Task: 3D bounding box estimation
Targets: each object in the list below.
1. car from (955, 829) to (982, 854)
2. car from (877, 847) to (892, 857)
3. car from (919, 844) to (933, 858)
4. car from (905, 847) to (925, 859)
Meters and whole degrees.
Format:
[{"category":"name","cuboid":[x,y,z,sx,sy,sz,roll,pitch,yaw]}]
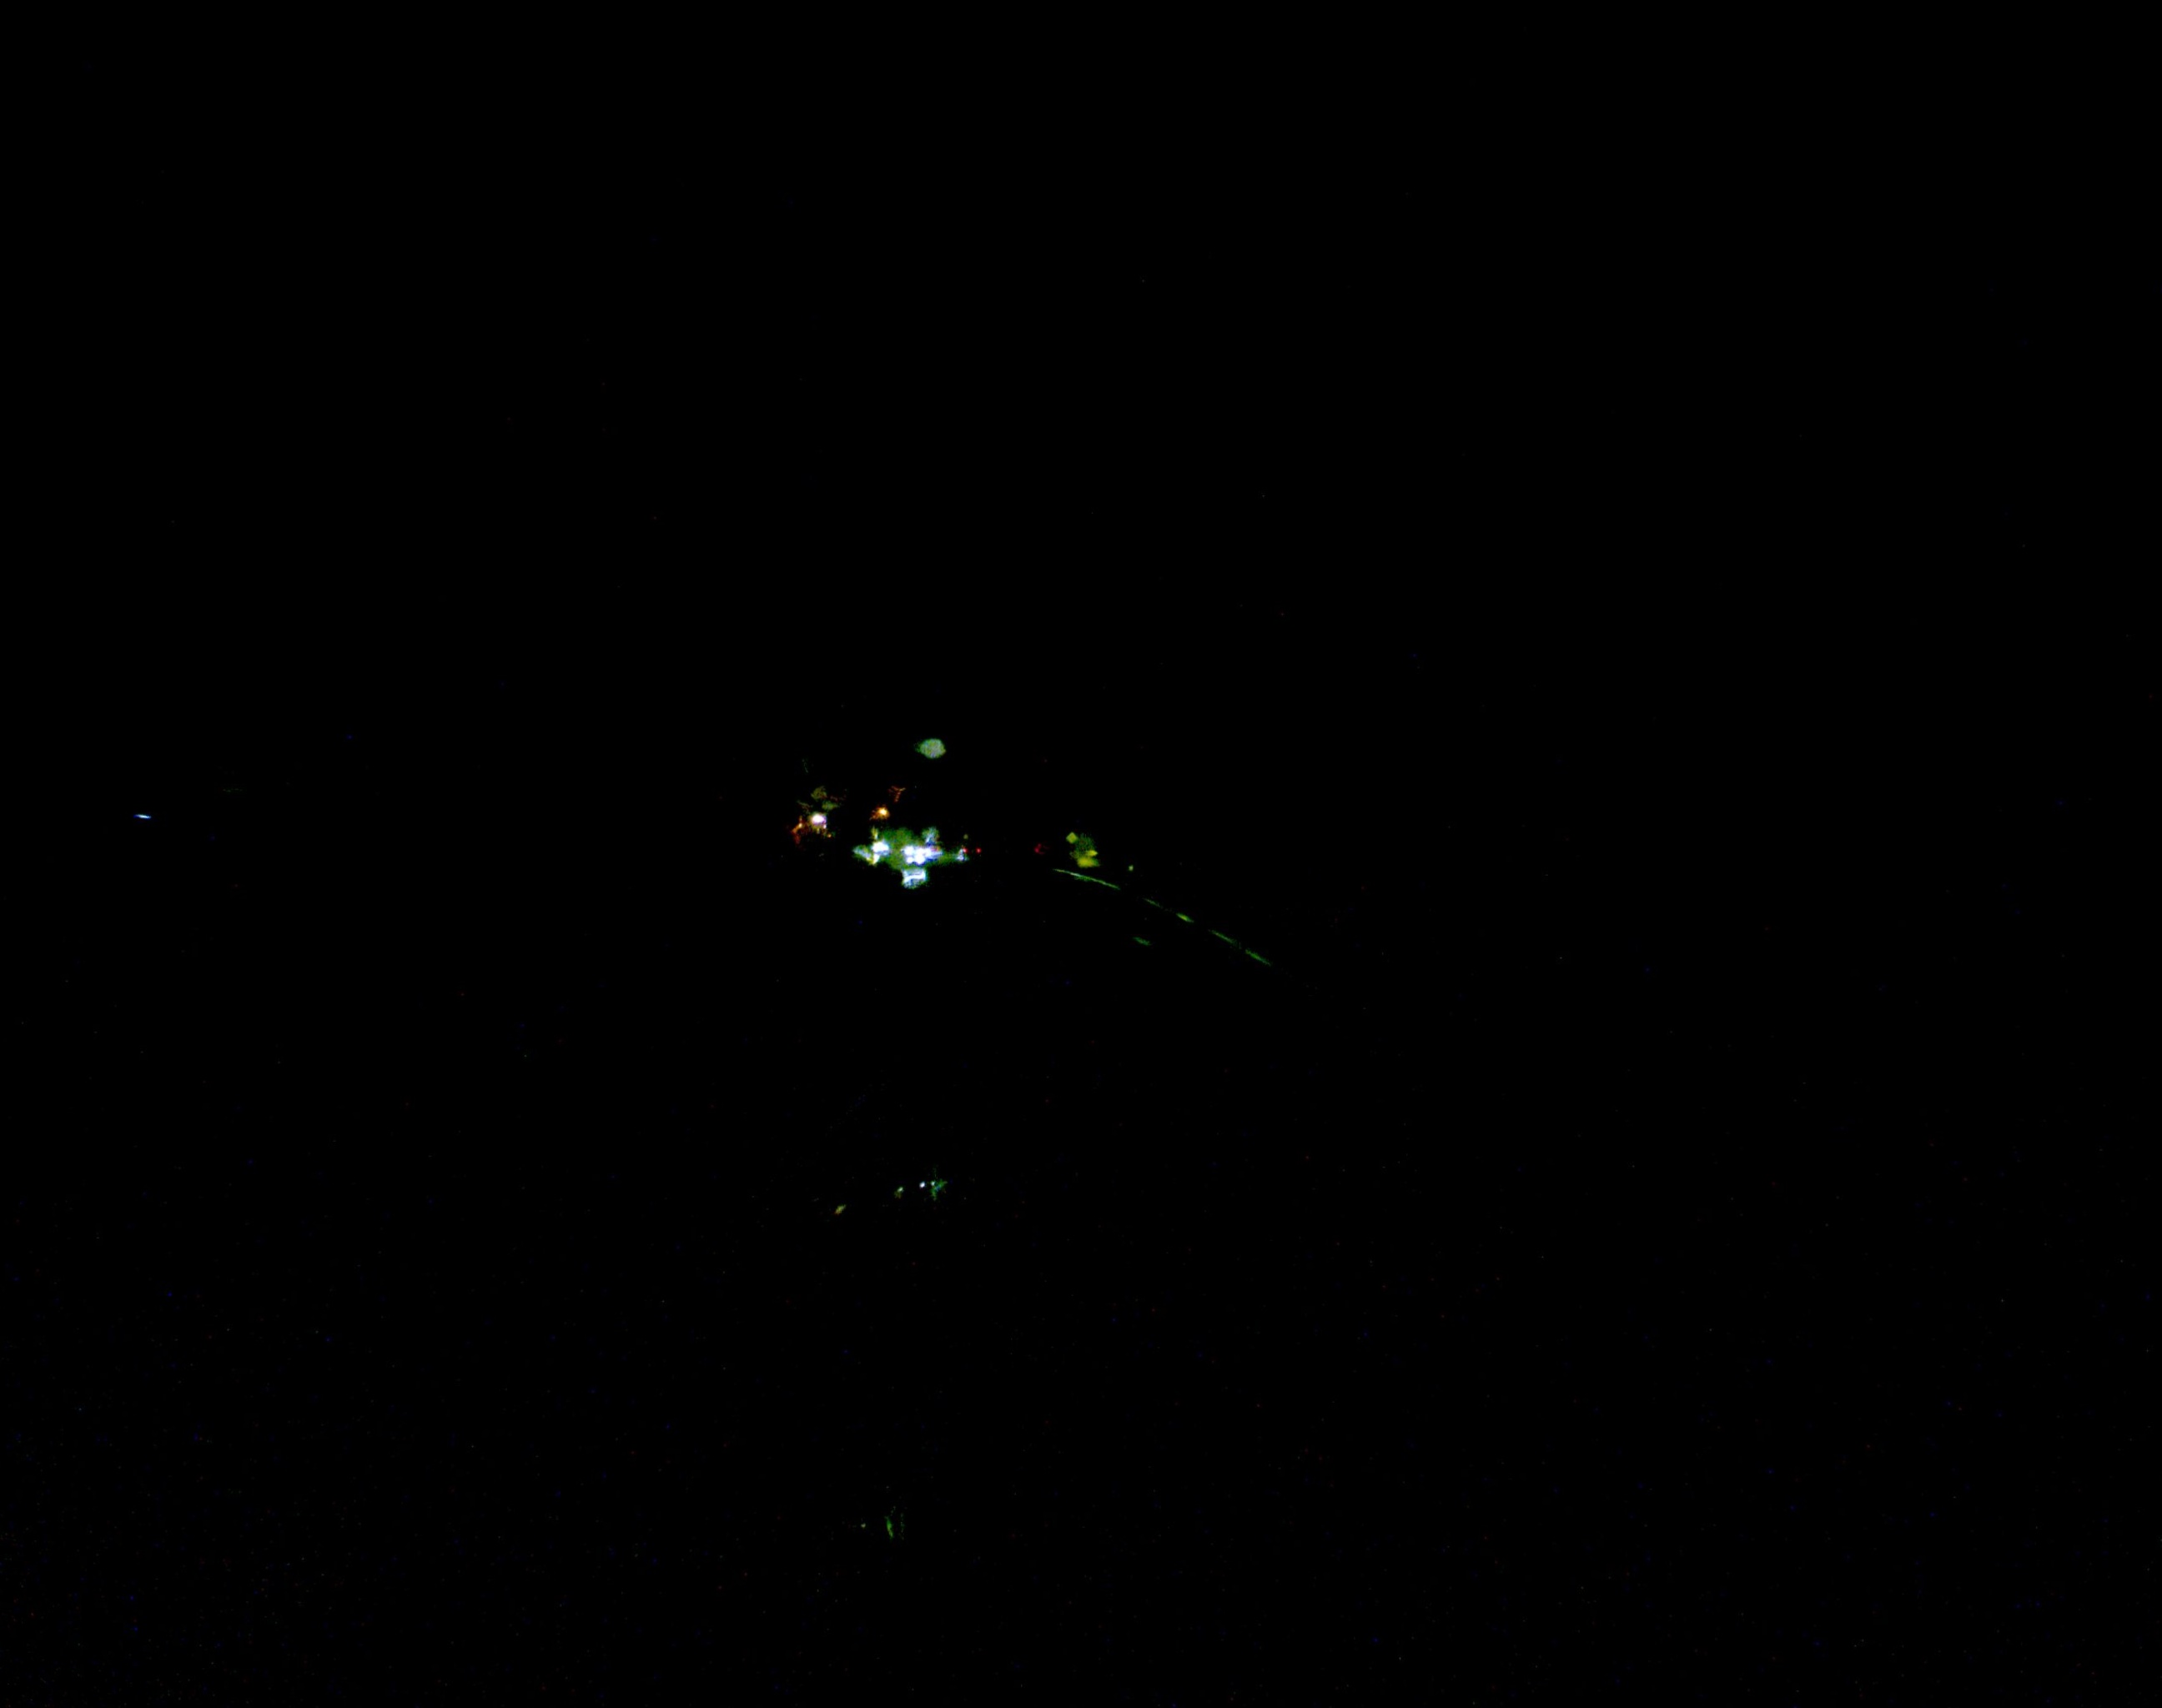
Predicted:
[{"category":"car","cuboid":[-12.698,-1.410,91.313,2.541,2.497,5.692,1,4,-12]},{"category":"car","cuboid":[-29.224,-0.332,120.902,1.718,1.476,3.842,1,1,-21]},{"category":"car","cuboid":[-22.264,-0.432,117.116,1.994,2.014,3.985,1,0,-11]},{"category":"car","cuboid":[-21.120,-0.150,103.581,1.961,1.522,4.372,1,0,-18]}]
